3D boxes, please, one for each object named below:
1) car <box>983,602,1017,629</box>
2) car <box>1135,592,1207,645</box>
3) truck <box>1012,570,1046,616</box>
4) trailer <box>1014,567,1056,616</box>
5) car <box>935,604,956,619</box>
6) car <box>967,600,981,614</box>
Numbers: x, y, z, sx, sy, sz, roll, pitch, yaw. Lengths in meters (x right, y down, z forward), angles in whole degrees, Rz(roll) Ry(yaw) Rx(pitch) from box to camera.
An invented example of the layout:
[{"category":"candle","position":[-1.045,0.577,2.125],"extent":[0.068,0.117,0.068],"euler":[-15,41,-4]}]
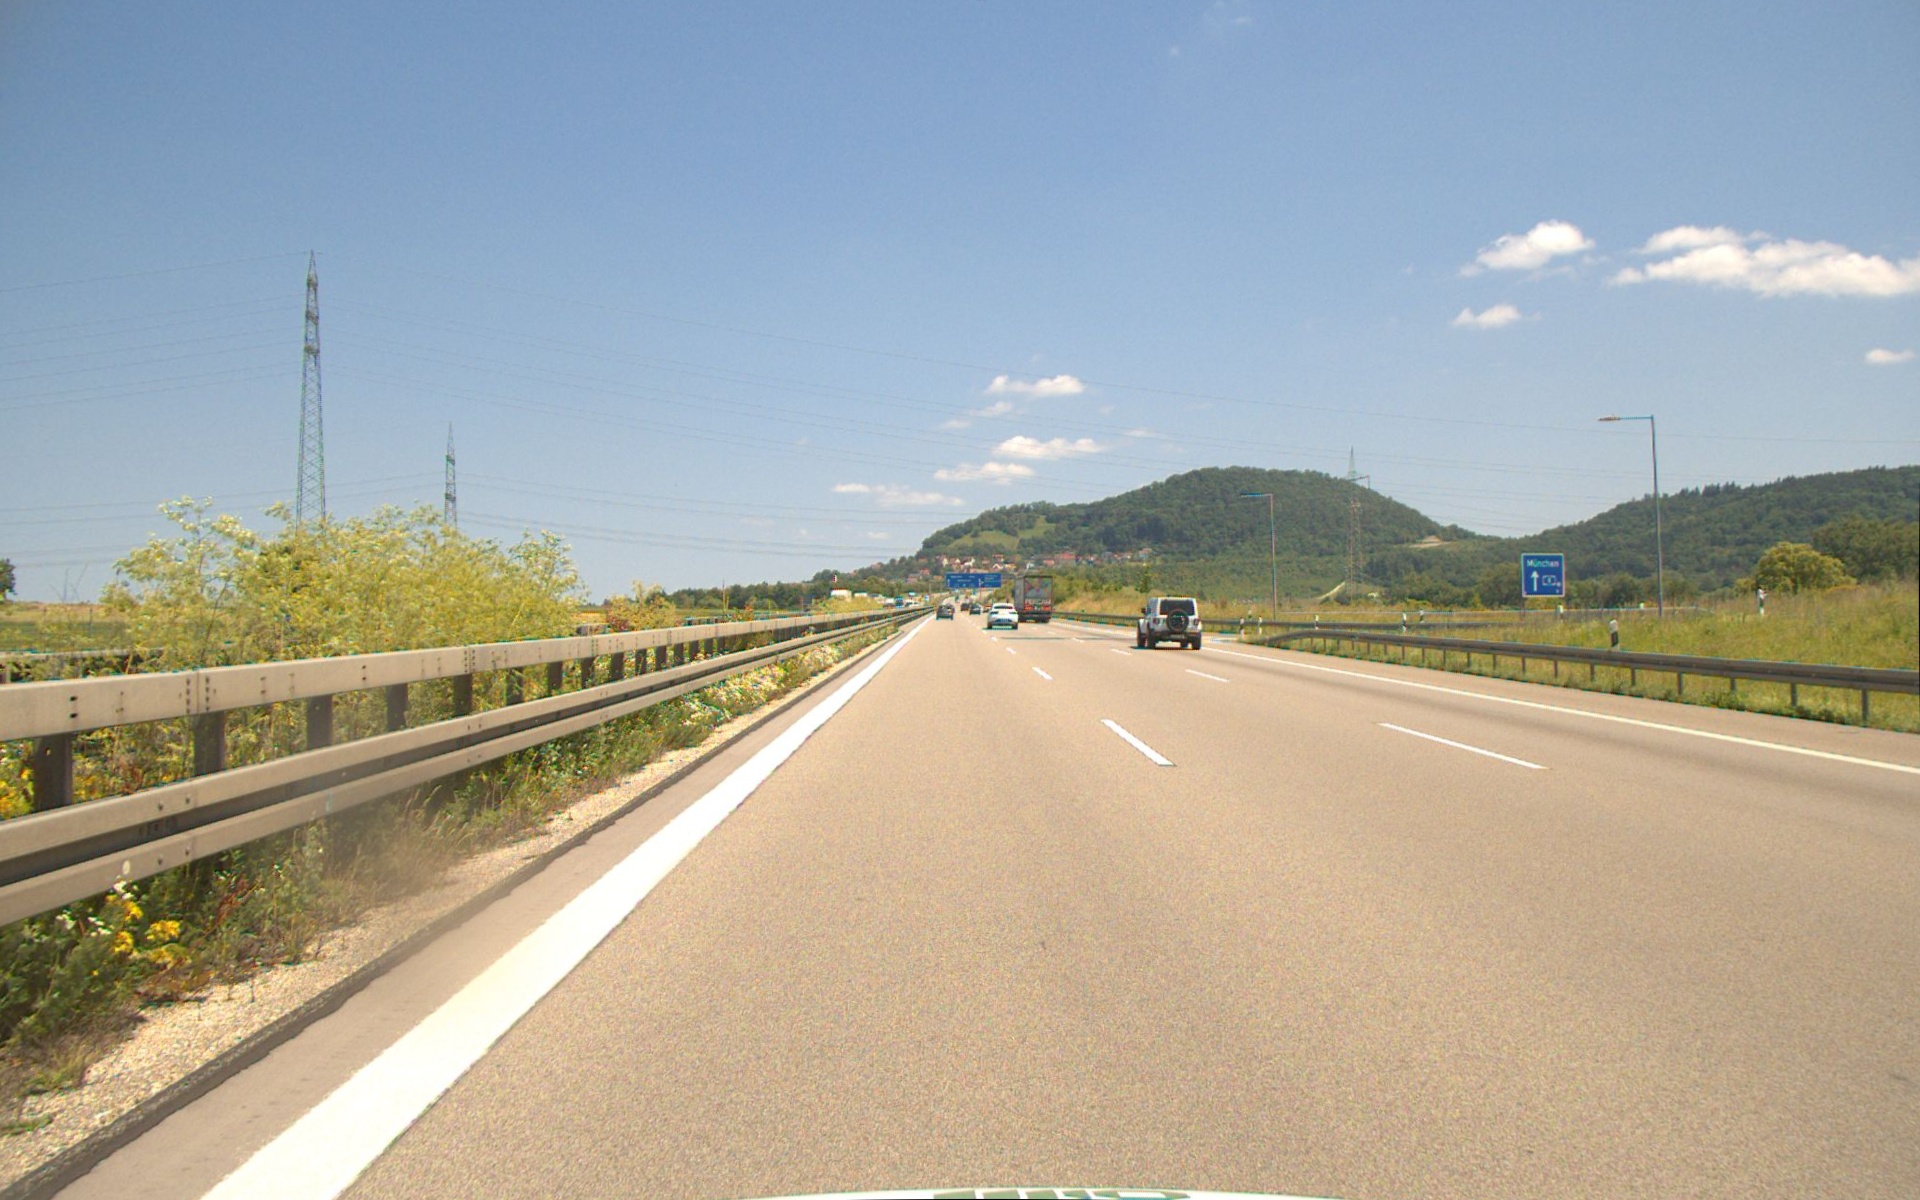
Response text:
[{"category":"car","position":[2.498,0.978,104.559],"extent":[1.875,1.608,5.229],"euler":[1,-1,-1]},{"category":"car","position":[7.670,0.658,60.387],"extent":[1.993,1.836,4.249],"euler":[1,0,-1]},{"category":"truck","position":[6.420,-0.602,154.713],"extent":[2.697,4.091,6.785],"euler":[1,-1,-2]},{"category":"trailer","position":[6.676,-0.672,148.283],"extent":[2.670,4.228,11.802],"euler":[1,-1,-2]},{"category":"car","position":[-1.419,1.119,162.184],"extent":[1.953,1.413,4.000],"euler":[1,-1,0]},{"category":"car","position":[2.075,0.999,244.532],"extent":[1.953,2.049,4.000],"euler":[1,-1,0]}]
